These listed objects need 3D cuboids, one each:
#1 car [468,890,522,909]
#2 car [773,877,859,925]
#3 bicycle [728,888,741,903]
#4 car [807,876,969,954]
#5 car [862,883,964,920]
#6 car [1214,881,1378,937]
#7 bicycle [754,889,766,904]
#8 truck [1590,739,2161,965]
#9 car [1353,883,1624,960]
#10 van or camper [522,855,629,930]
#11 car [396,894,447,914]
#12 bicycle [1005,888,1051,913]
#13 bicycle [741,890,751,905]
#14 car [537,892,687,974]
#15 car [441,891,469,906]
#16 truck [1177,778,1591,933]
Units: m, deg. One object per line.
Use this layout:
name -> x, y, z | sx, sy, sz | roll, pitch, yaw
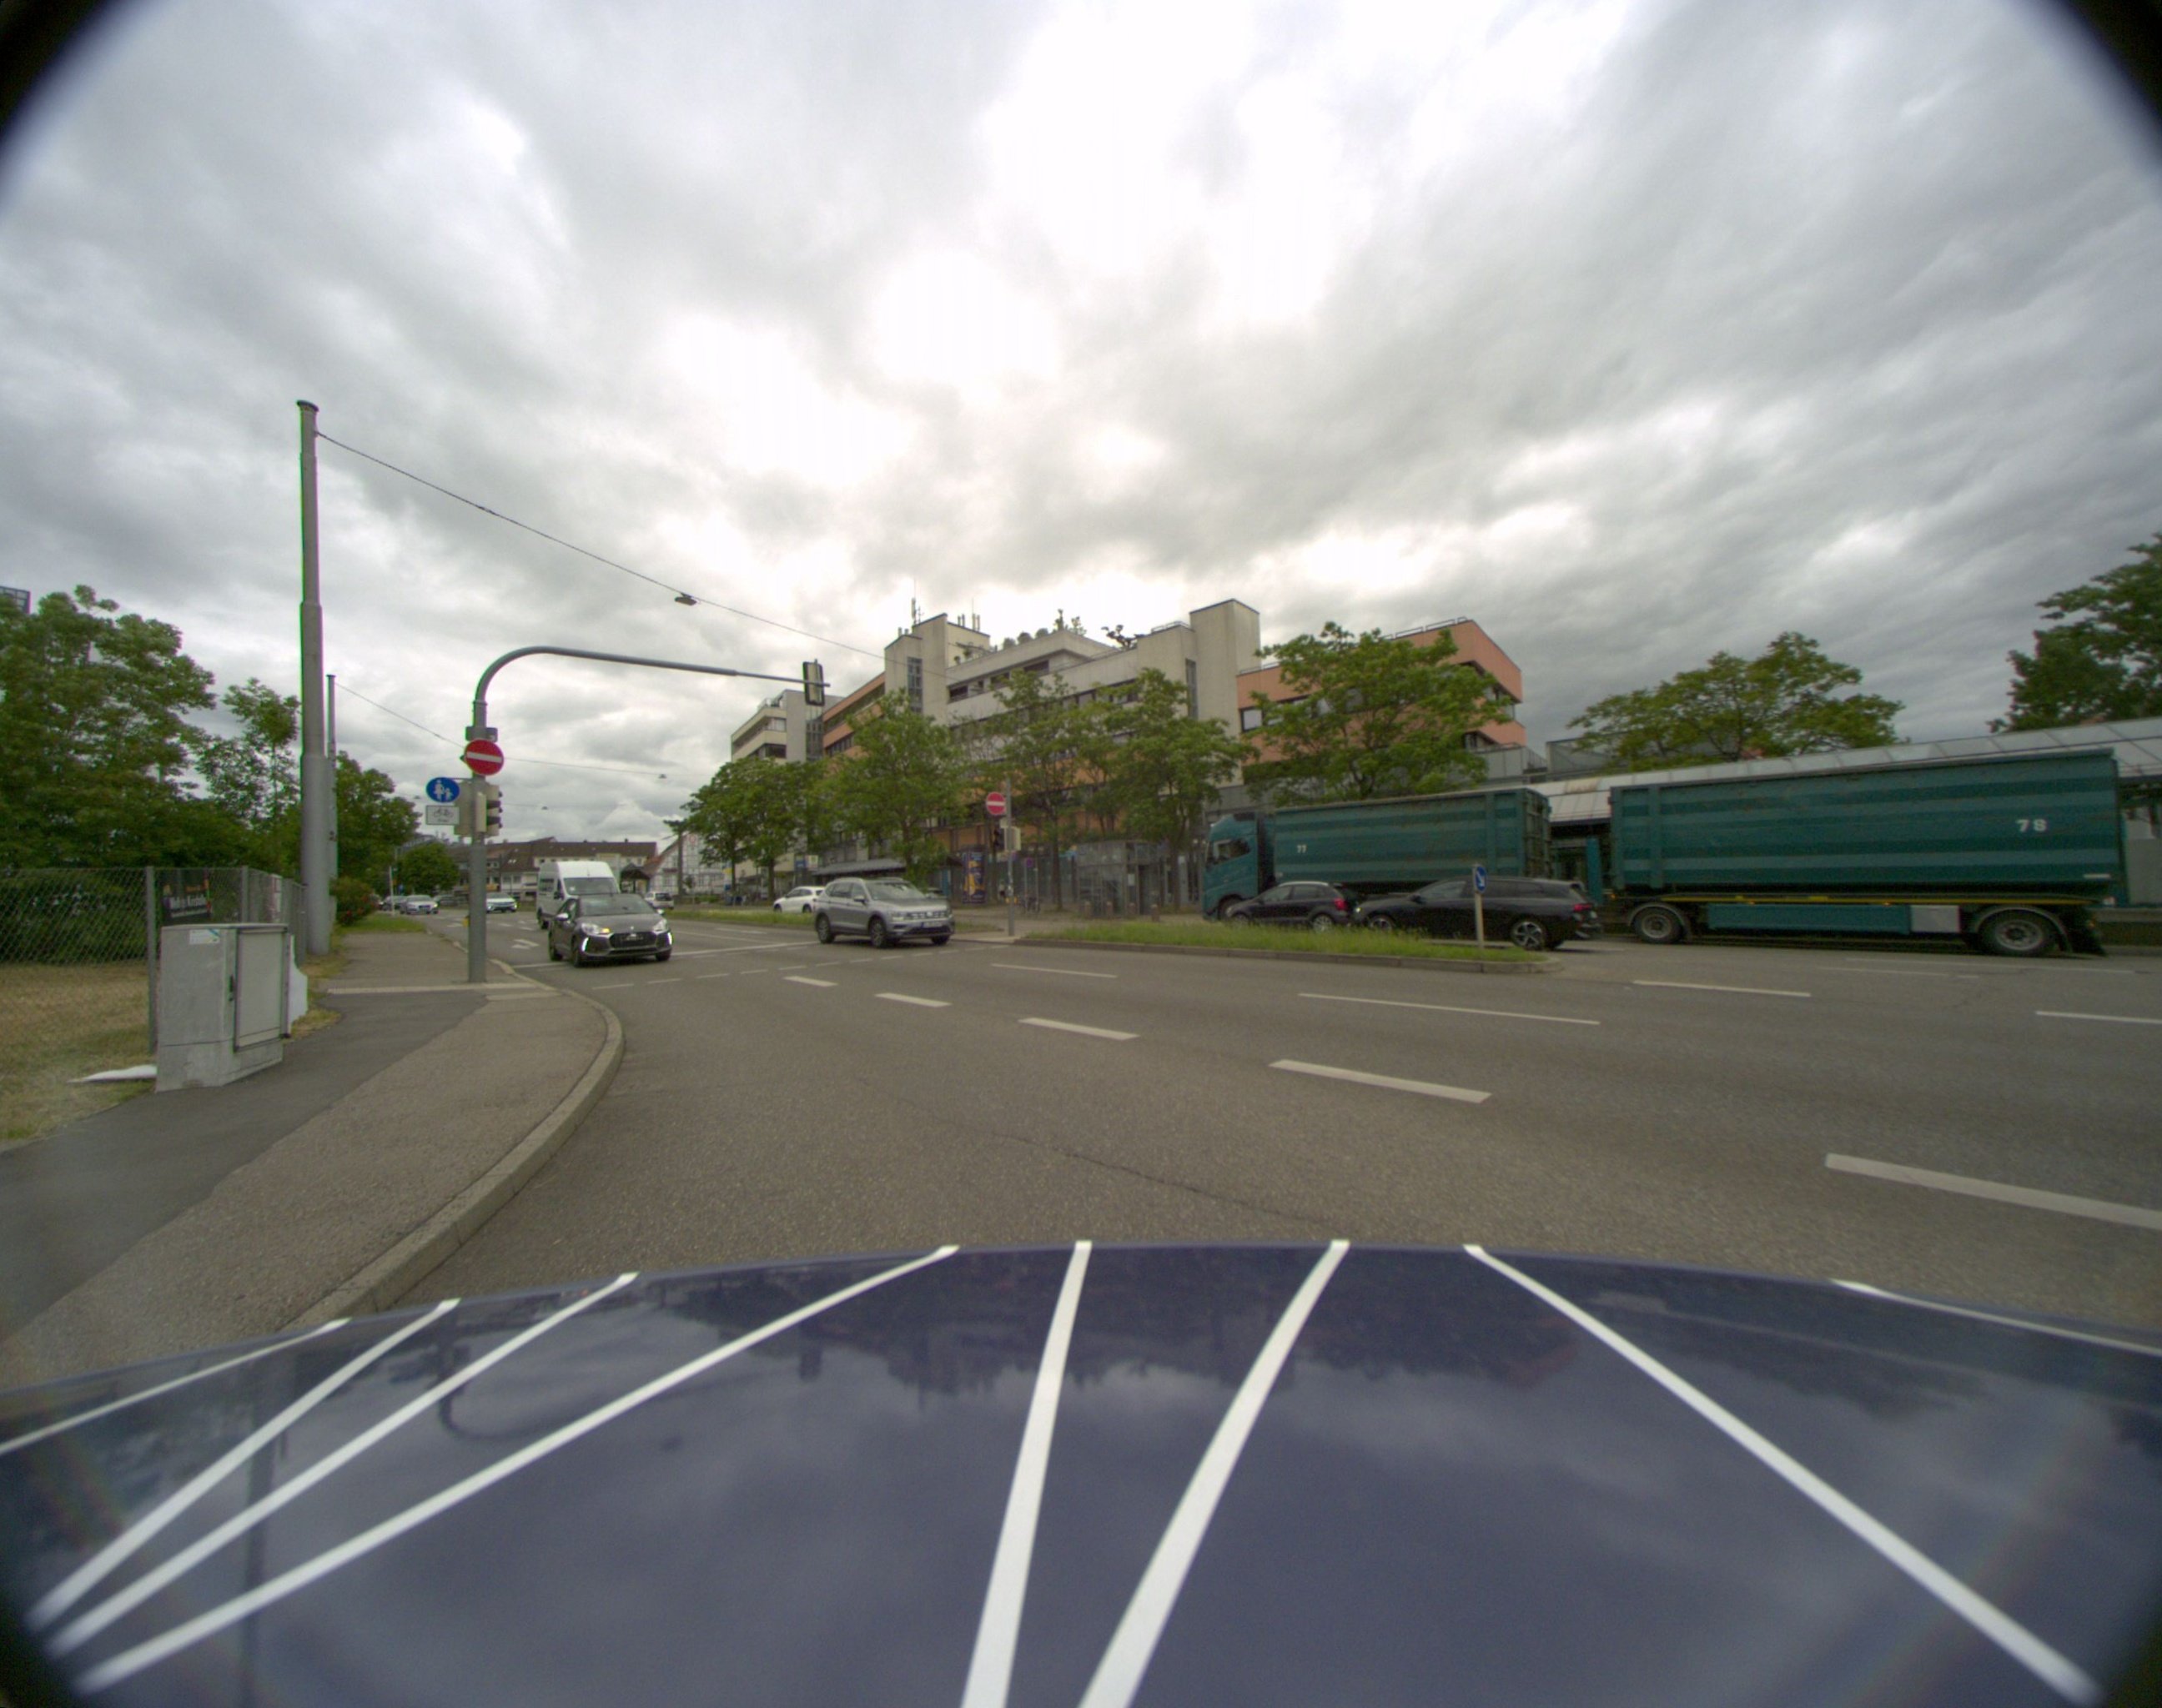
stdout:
car -> -42.695, 3.290, 55.322 | 3.989, 1.367, 2.005 | -2, -2, 35
car -> -12.051, 2.092, 34.413 | 4.168, 2.001, 2.005 | -3, -3, 44
bicycle -> -29.709, 3.581, 65.224 | 0.627, 1.245, 1.682 | 0, -2, -11
car -> -4.931, 1.467, 19.019 | 2.004, 1.640, 4.382 | -2, -1, -43
car -> -7.732, 2.134, 34.707 | 5.254, 1.575, 1.776 | -2, -4, 41
car -> 5.919, 1.519, 21.171 | 3.989, 1.408, 1.808 | -3, -5, 42
bicycle -> -27.824, 3.658, 65.913 | 0.627, 1.245, 1.682 | 0, -2, -11
truck -> 16.112, 0.126, 16.366 | 8.005, 3.704, 3.387 | -2, -3, 44
car -> 8.082, 1.268, 15.333 | 4.433, 1.324, 2.005 | -3, -3, 43
van or camper -> -20.361, 1.582, 30.414 | 2.286, 2.689, 6.978 | 1, -4, -44
car -> -49.677, 3.749, 57.222 | 3.989, 1.367, 2.005 | -2, -2, 35
bicycle -> -2.921, 2.537, 41.494 | 2.418, 1.263, 1.057 | -3, -1, 42
bicycle -> -29.558, 3.823, 67.080 | 0.432, 1.245, 1.470 | -1, -2, -8
car -> -10.150, 1.624, 16.329 | 1.869, 1.515, 3.990 | 2, -4, -45
car -> -67.457, 4.799, 81.819 | 2.005, 1.564, 4.504 | 1, -3, -44
truck -> 8.574, 0.204, 23.297 | 11.249, 3.704, 3.386 | -2, -1, 43
